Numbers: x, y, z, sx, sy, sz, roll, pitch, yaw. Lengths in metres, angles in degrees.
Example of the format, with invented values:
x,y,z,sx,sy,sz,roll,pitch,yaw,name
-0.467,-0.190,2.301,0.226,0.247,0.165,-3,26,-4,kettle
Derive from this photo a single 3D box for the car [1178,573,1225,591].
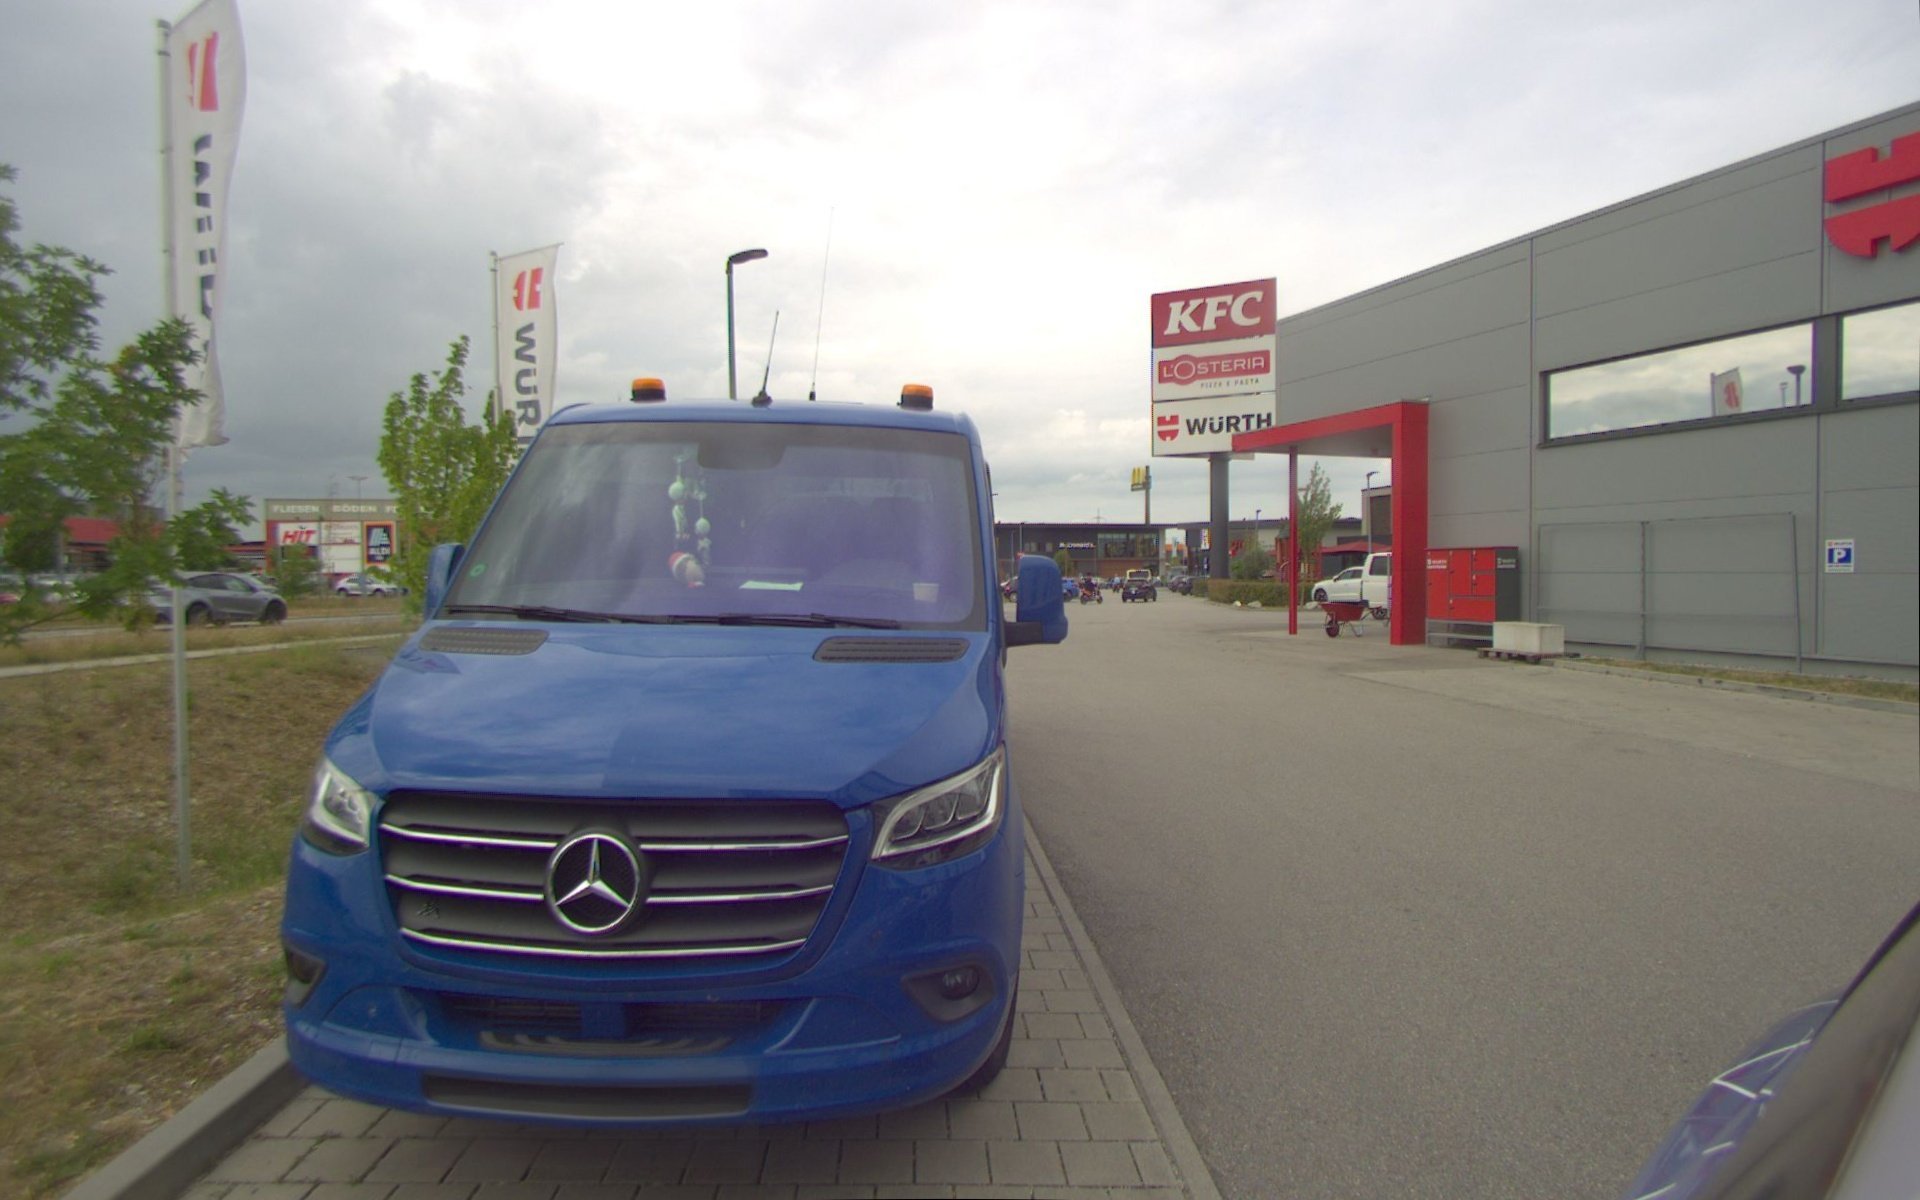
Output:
x,y,z,sx,sy,sz,roll,pitch,yaw,name
19.237,-1.453,80.696,3.377,1.311,1.500,-1,1,-1,car

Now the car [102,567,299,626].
x,y,z,sx,sy,sz,roll,pitch,yaw,name
-21.677,-0.182,29.202,1.778,1.526,4.881,0,2,4,car

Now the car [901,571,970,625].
x,y,z,sx,sy,sz,roll,pitch,yaw,name
-0.642,-0.119,29.376,1.721,1.433,4.304,-1,2,2,car

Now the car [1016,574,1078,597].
x,y,z,sx,sy,sz,roll,pitch,yaw,name
5.660,-0.958,65.583,3.933,1.437,1.807,0,1,8,car

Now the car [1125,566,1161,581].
x,y,z,sx,sy,sz,roll,pitch,yaw,name
22.219,-3.239,122.912,3.978,1.682,1.973,0,2,38,car

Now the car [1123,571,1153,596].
x,y,z,sx,sy,sz,roll,pitch,yaw,name
10.630,-1.001,60.246,1.486,1.465,3.111,1,2,16,car

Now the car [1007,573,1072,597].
x,y,z,sx,sy,sz,roll,pitch,yaw,name
4.994,-0.930,63.130,3.933,1.437,1.807,0,1,8,car

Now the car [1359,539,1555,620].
x,y,z,sx,sy,sz,roll,pitch,yaw,name
13.654,-0.597,28.151,1.897,2.038,4.768,-1,2,-24,car

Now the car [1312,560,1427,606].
x,y,z,sx,sy,sz,roll,pitch,yaw,name
16.857,-0.730,41.937,1.721,1.770,4.753,-1,2,-20,car

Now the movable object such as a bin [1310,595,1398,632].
x,y,z,sx,sy,sz,roll,pitch,yaw,name
8.130,0.264,20.893,1.552,0.725,0.805,-1,1,-21,movable object such as a bin

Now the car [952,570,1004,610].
x,y,z,sx,sy,sz,roll,pitch,yaw,name
0.784,-0.459,41.304,1.722,1.509,4.481,-1,2,6,car

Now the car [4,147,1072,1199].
x,y,z,sx,sy,sz,roll,pitch,yaw,name
-0.812,0.129,5.985,2.160,2.351,7.858,0,2,1,car

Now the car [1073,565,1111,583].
x,y,z,sx,sy,sz,roll,pitch,yaw,name
15.443,-3.006,118.811,3.978,2.038,1.973,0,2,38,car

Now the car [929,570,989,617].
x,y,z,sx,sy,sz,roll,pitch,yaw,name
0.038,-0.284,35.675,1.722,1.509,4.628,-1,2,5,car

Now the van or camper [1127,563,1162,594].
x,y,z,sx,sy,sz,roll,pitch,yaw,name
13.143,-1.561,71.802,1.834,2.087,5.207,0,1,17,van or camper

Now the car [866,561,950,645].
x,y,z,sx,sy,sz,roll,pitch,yaw,name
-1.188,-0.003,23.150,1.718,1.704,4.302,-1,2,-3,car

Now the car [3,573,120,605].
x,y,z,sx,sy,sz,roll,pitch,yaw,name
-41.382,-0.543,46.653,3.744,1.407,1.914,0,2,2,car

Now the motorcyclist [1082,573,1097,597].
x,y,z,sx,sy,sz,roll,pitch,yaw,name
7.300,-0.843,57.026,0.659,1.332,0.577,-1,1,-18,motorcyclist

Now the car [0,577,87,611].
x,y,z,sx,sy,sz,roll,pitch,yaw,name
-41.157,-0.269,44.627,3.744,1.407,1.914,0,2,2,car

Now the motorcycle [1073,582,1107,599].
x,y,z,sx,sy,sz,roll,pitch,yaw,name
7.309,-0.541,57.045,1.829,0.928,0.557,-1,1,-19,motorcycle

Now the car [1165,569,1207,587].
x,y,z,sx,sy,sz,roll,pitch,yaw,name
24.262,-2.407,108.831,3.920,1.860,2.003,-1,1,-6,car
